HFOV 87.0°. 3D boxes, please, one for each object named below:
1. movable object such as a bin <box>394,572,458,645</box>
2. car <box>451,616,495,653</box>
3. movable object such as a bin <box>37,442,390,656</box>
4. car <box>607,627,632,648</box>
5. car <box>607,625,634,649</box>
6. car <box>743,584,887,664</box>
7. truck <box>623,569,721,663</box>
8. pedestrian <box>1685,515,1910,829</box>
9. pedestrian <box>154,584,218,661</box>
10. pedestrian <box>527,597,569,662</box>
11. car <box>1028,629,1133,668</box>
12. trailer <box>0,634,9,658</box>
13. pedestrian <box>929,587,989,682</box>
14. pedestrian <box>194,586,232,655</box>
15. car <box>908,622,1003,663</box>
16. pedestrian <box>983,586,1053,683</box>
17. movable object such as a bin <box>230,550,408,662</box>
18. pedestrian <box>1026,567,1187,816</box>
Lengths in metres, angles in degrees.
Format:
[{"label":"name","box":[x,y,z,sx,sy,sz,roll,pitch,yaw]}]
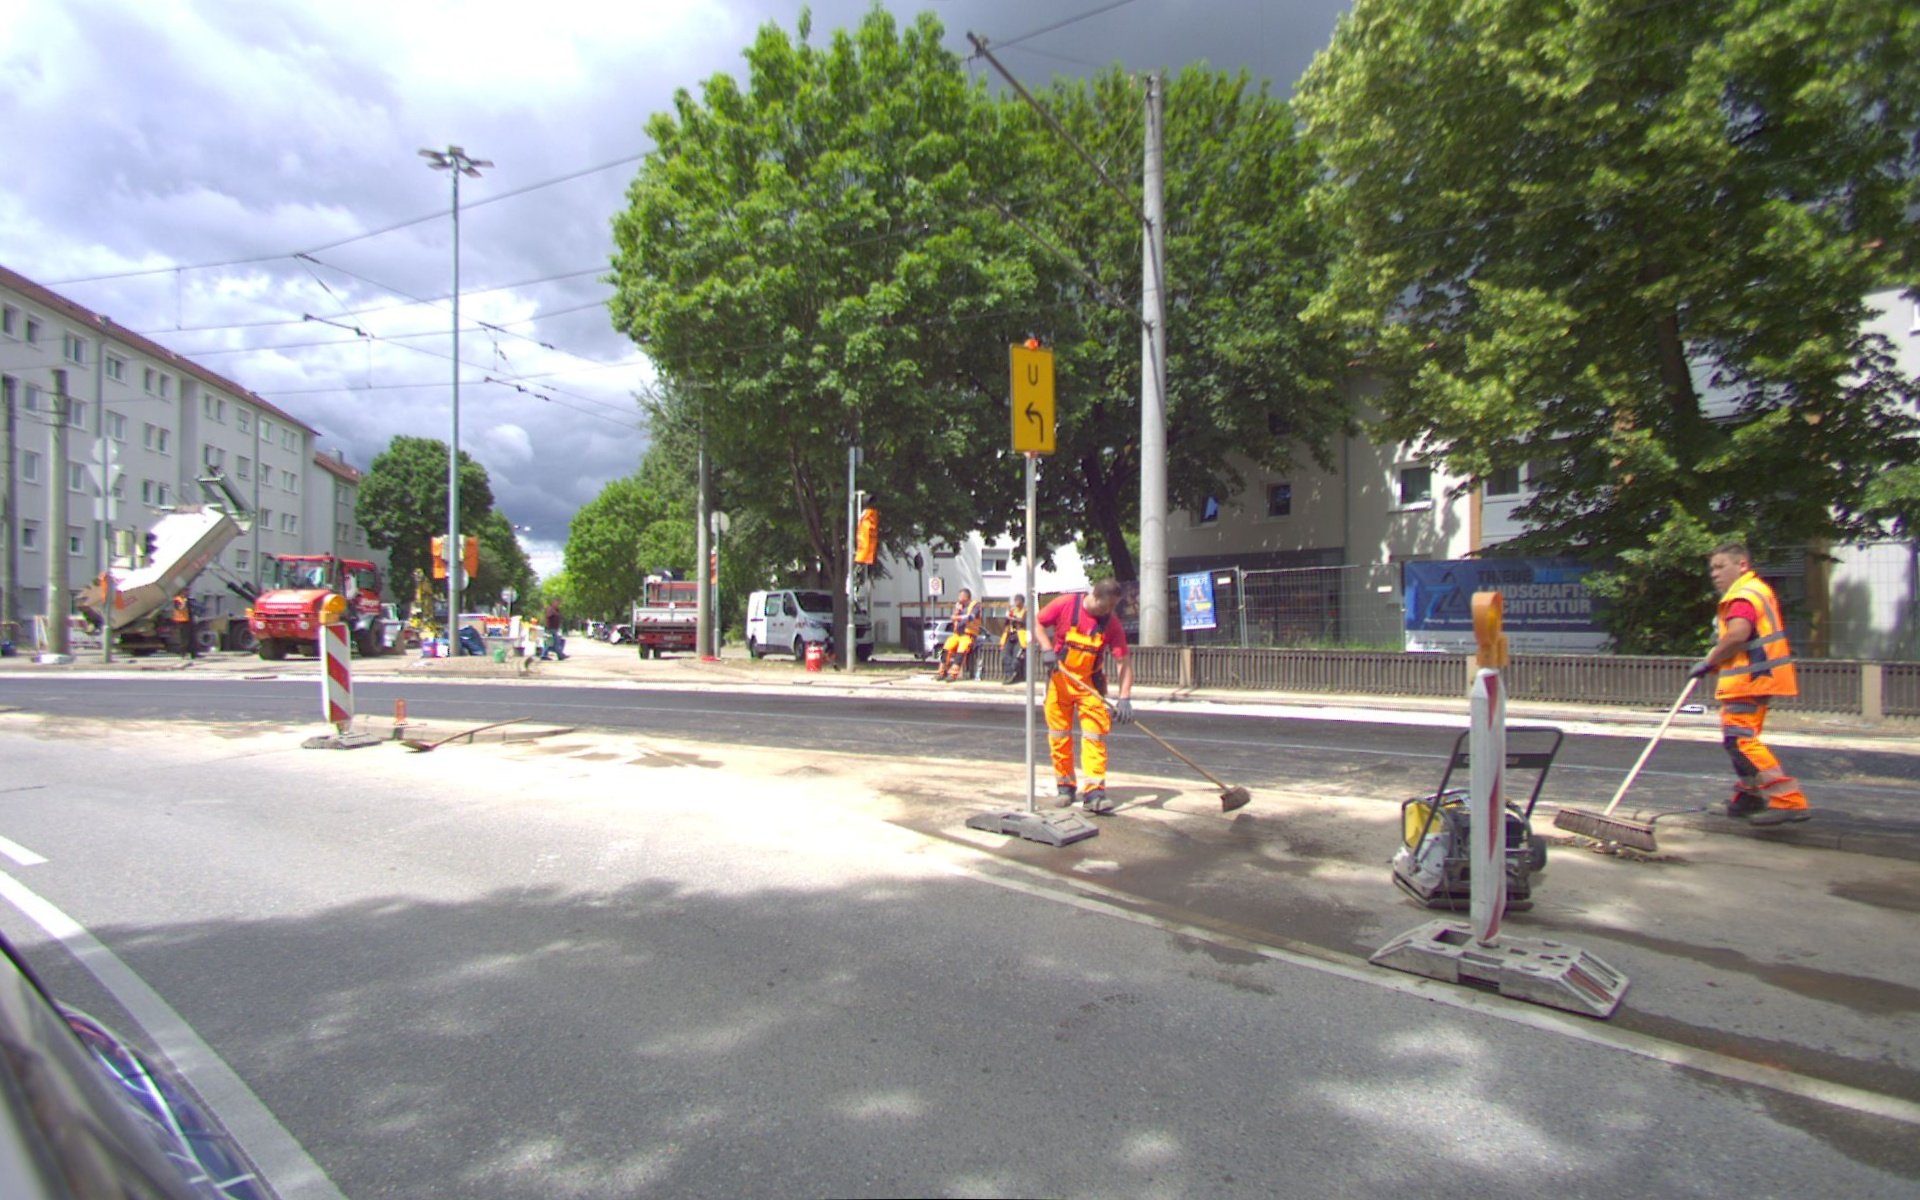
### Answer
[{"label":"movable object such as a bin","box":[-34.766,0.641,66.113,2.778,4.570,6.229,0,-2,-20]},{"label":"car","box":[-28.196,1.978,58.688,1.965,2.029,5.928,1,-2,-23]},{"label":"movable object such as a bin","box":[-22.031,-1.167,30.832,2.792,5.527,8.999,-1,-2,12]},{"label":"car","box":[-25.270,2.791,75.157,1.649,1.516,4.012,1,-2,-18]},{"label":"car","box":[-23.708,2.566,70.784,1.734,1.622,4.012,1,-2,-18]},{"label":"car","box":[-3.991,0.645,26.975,1.966,1.901,5.266,1,-2,-30]},{"label":"truck","box":[-8.573,0.501,30.669,2.380,2.588,5.595,0,-1,-11]},{"label":"pedestrian","box":[4.836,0.378,5.911,0.823,1.680,0.701,1,0,25]},{"label":"pedestrian","box":[-19.061,0.545,24.941,0.958,1.846,0.796,0,0,-1]},{"label":"pedestrian","box":[-10.776,0.765,26.500,0.860,1.672,0.931,-1,-1,-11]},{"label":"car","box":[4.772,1.881,39.987,3.810,1.470,1.783,1,-2,-30]},{"label":"trailer","box":[-25.785,1.206,26.276,1.579,0.621,0.795,0,-2,9]},{"label":"pedestrian","box":[-0.026,0.573,17.112,0.784,1.553,0.765,0,-2,-21]},{"label":"pedestrian","box":[-20.112,0.547,27.254,0.602,1.802,0.583,-1,-1,-12]},{"label":"car","box":[-0.176,1.552,37.333,3.148,1.466,1.569,1,-2,-29]},{"label":"pedestrian","box":[0.946,0.560,16.617,0.827,1.544,0.911,0,-2,-21]},{"label":"movable object such as a bin","box":[-17.098,0.172,27.390,2.082,2.689,5.599,0,-1,-10]},{"label":"pedestrian","box":[0.961,0.582,6.837,0.887,1.563,0.765,-2,0,-4]}]
